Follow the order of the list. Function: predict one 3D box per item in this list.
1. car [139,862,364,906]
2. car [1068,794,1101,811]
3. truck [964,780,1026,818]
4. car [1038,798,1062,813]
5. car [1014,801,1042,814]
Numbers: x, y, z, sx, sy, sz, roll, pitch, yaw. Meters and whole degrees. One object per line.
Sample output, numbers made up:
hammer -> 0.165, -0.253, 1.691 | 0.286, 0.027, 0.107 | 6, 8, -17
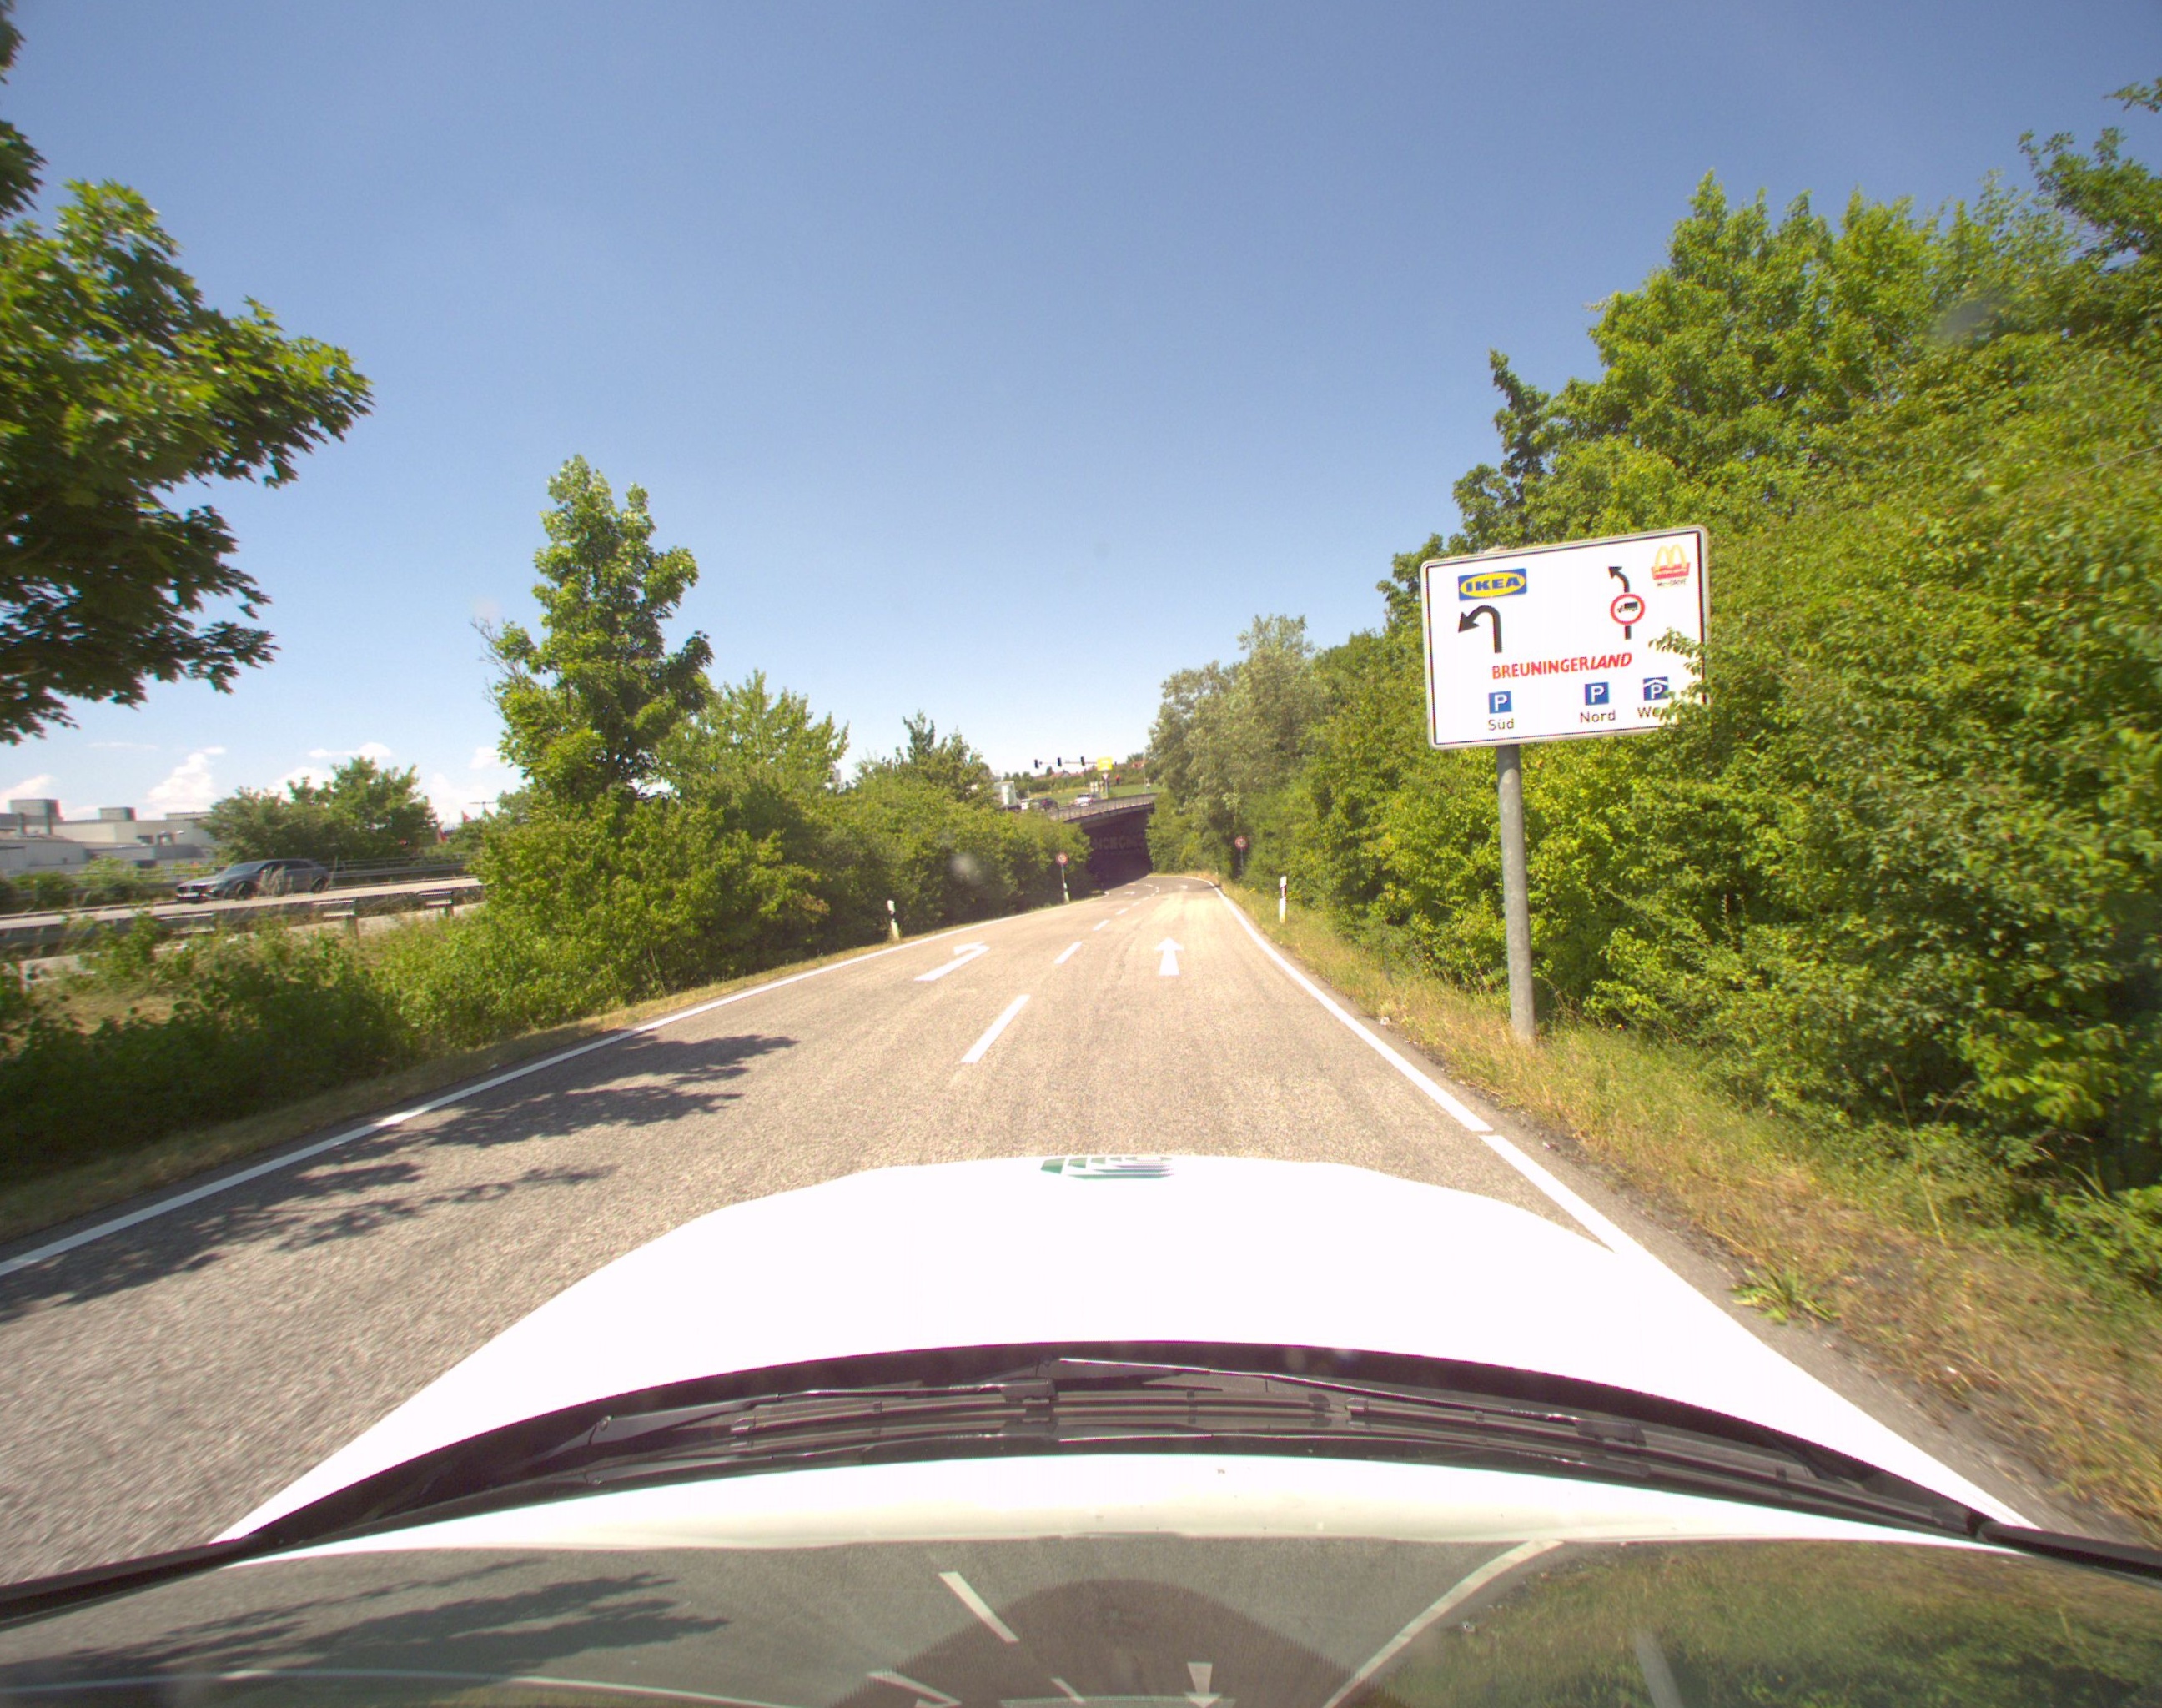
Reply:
car -> -30.373, 1.029, 30.194 | 2.142, 1.442, 5.843 | -1, 0, 3
car -> 0.343, -4.841, 76.795 | 1.978, 1.420, 4.018 | -5, 2, 16
truck -> -9.087, -5.885, 87.382 | 3.003, 3.588, 8.946 | -5, 2, 18
car -> -3.846, -5.999, 101.056 | 1.980, 1.618, 4.013 | -3, 1, 11
car -> -6.187, -5.417, 95.360 | 1.882, 1.363, 4.018 | -3, 1, 17
